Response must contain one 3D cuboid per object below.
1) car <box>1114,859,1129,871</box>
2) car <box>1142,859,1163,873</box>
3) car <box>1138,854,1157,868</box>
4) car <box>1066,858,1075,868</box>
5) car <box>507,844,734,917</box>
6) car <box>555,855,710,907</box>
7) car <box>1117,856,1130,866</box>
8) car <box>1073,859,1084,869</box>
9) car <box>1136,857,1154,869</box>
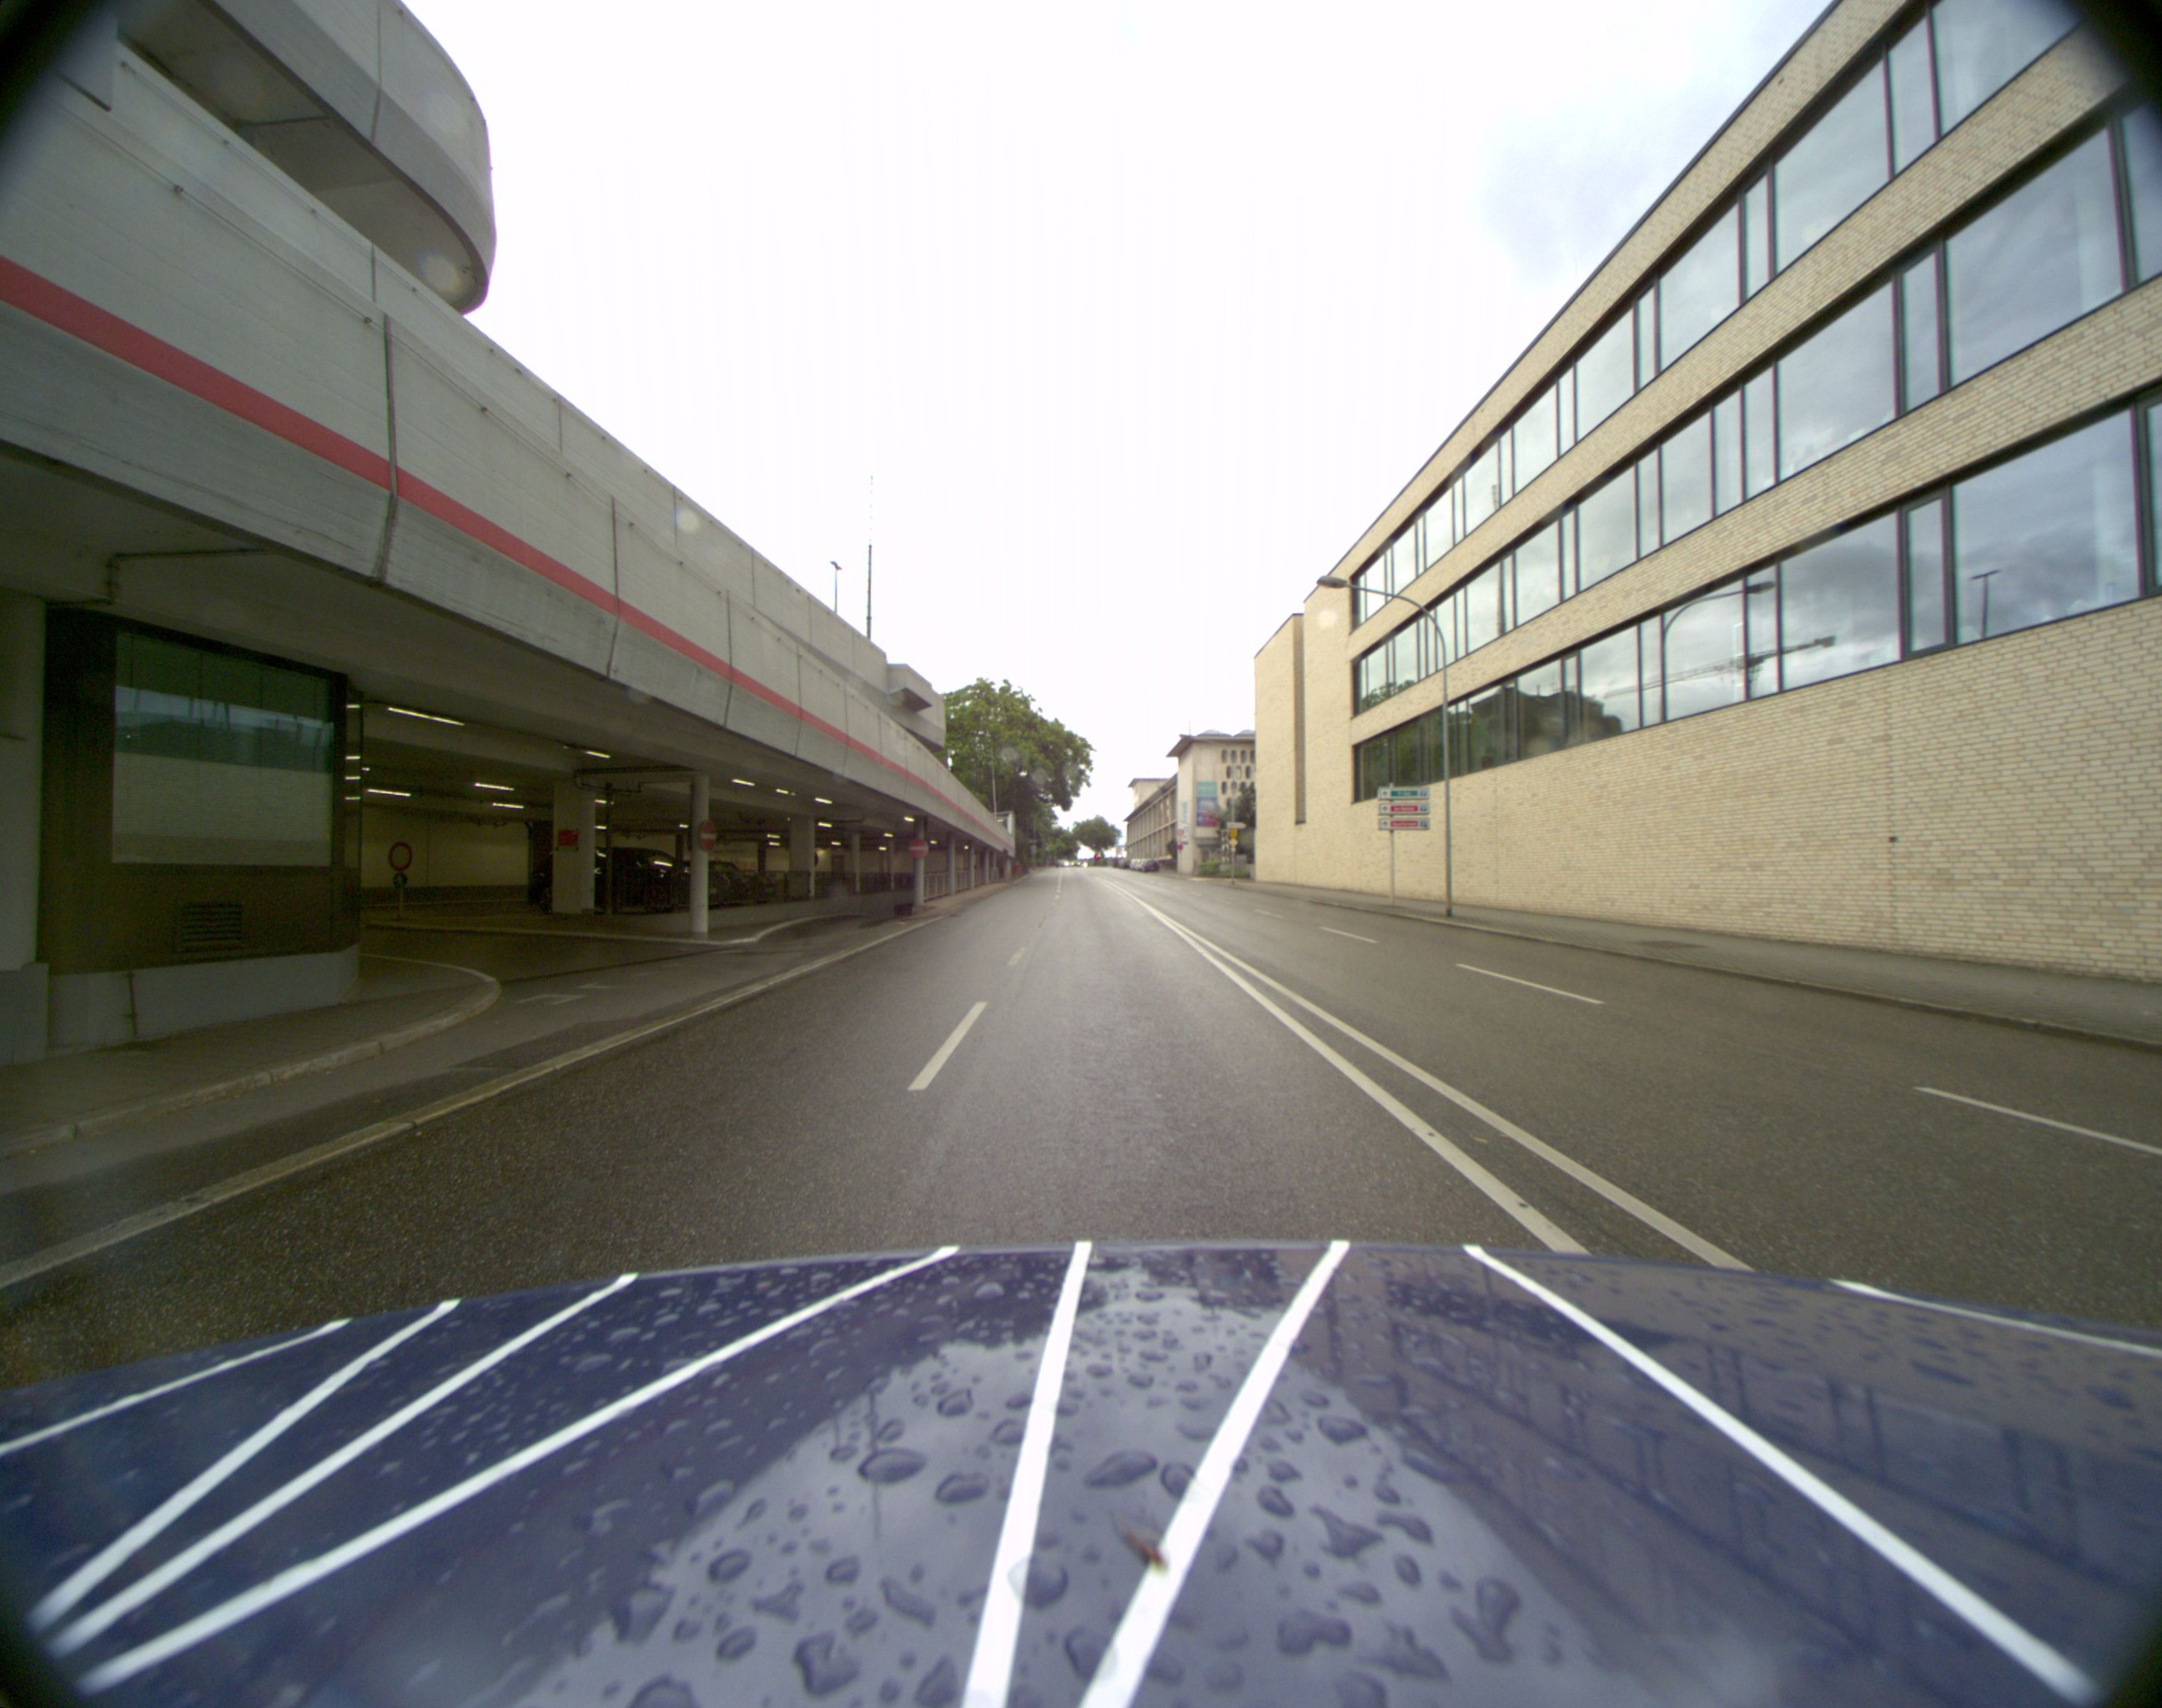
[{"bbox_3d":[6.535,1.807,121.691,1.999,1.702,3.999,-3,1,-1],"label":"car"},{"bbox_3d":[8.569,1.436,91.085,1.999,1.520,3.999,-2,1,-2],"label":"car"},{"bbox_3d":[8.396,0.853,96.457,1.999,1.632,3.999,-2,1,-1],"label":"car"},{"bbox_3d":[-2.441,2.058,175.146,1.998,2.002,3.999,-2,1,1],"label":"car"},{"bbox_3d":[-11.287,0.625,18.800,4.585,1.630,1.823,-1,0,6],"label":"car"},{"bbox_3d":[-13.642,0.794,23.217,3.730,1.496,1.809,0,-1,7],"label":"car"},{"bbox_3d":[7.879,1.361,142.713,1.999,1.637,3.998,-3,2,-2],"label":"car"},{"bbox_3d":[-0.619,2.075,164.647,1.806,2.002,3.997,-2,1,-6],"label":"car"},{"bbox_3d":[8.483,1.223,101.398,1.998,1.502,4.002,-2,-2,0],"label":"car"}]
